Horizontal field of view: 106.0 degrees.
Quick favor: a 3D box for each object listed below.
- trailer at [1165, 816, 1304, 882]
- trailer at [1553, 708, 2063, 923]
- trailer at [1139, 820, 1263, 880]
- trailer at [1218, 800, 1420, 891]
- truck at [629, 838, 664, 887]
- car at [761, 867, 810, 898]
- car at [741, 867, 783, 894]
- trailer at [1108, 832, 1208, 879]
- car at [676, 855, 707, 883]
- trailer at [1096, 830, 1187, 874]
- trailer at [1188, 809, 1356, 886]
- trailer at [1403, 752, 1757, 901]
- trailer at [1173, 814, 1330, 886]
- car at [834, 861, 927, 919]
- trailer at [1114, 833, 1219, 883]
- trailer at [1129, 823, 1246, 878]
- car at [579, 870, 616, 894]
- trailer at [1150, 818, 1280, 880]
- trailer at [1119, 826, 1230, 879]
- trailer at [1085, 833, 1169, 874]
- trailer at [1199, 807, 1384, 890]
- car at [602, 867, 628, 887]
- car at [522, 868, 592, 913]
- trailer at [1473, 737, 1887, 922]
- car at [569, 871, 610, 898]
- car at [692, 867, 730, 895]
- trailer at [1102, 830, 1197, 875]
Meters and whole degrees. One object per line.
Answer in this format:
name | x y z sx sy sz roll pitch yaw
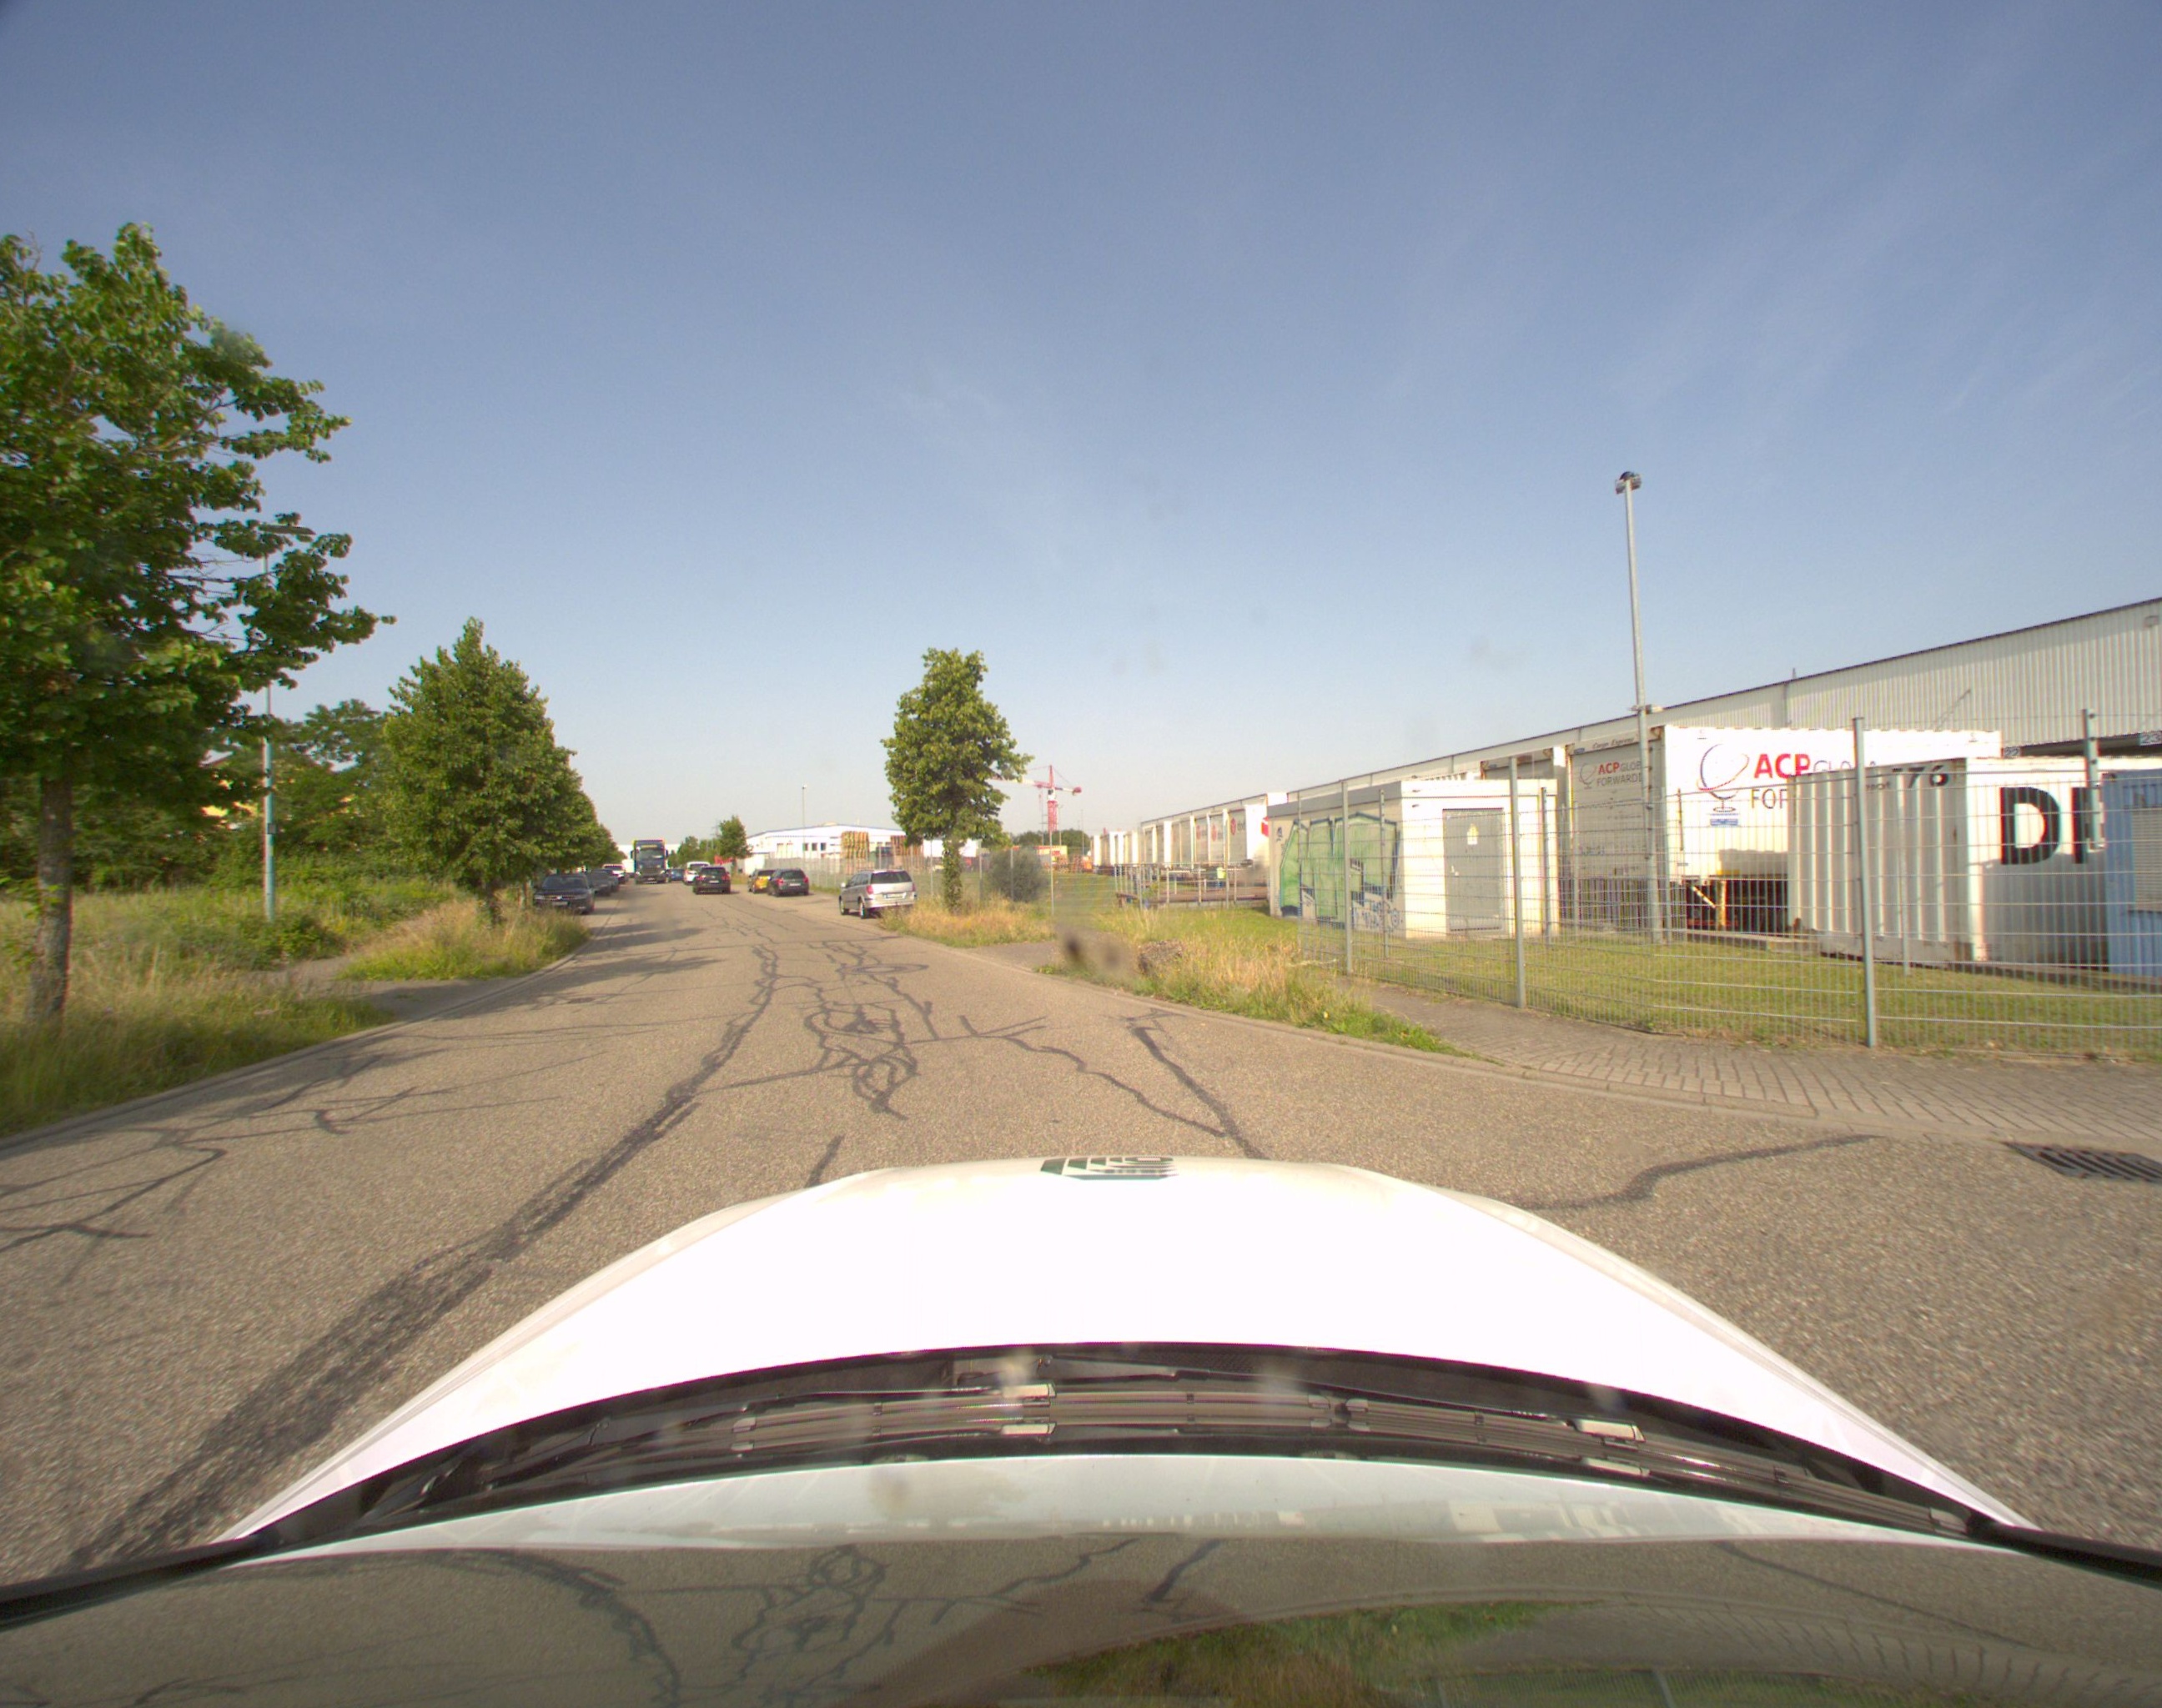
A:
trailer | 9.424 -0.297 50.294 8.034 3.893 2.766 1 0 -10
trailer | 14.566 -0.731 16.624 8.530 3.894 2.768 -1 -3 -8
trailer | 8.213 -0.253 56.106 7.963 3.893 2.766 1 0 -10
trailer | 10.795 -0.345 37.217 8.536 3.893 2.766 1 0 -10
truck | -40.268 0.772 75.327 2.514 4.145 10.281 -3 1 -29
car | -16.123 1.498 44.346 1.726 1.515 3.964 -3 1 -31
car | -19.247 1.586 49.010 1.726 1.455 4.147 -3 1 -30
trailer | 6.497 0.134 68.747 7.963 3.893 2.766 1 0 -10
car | -30.961 1.219 64.810 2.132 2.110 4.585 -1 -1 -25
trailer | 5.522 -0.139 74.942 7.963 3.893 2.766 1 0 -10
trailer | 10.116 -0.314 43.307 8.308 3.893 2.766 1 0 -10
trailer | 13.743 -0.734 22.660 8.732 3.761 2.781 -1 -1 -10
trailer | 9.643 -0.191 46.324 8.308 3.893 2.766 1 0 -10
car | -6.659 1.122 26.728 1.810 1.626 4.407 -3 1 -29
trailer | 6.833 0.328 65.348 7.963 3.893 2.766 1 0 -10
trailer | 7.715 -0.229 59.217 7.963 3.893 2.766 1 0 -10
car | -31.742 1.793 53.525 1.843 1.496 4.012 0 -1 -28
trailer | 8.714 -0.299 53.186 7.963 3.893 2.766 1 0 -10
trailer | 7.106 -0.073 62.280 7.963 3.893 2.766 1 0 -10
trailer | 4.555 -0.023 80.883 7.963 3.893 2.733 1 0 -10
trailer | 10.353 -0.228 40.308 8.536 3.893 2.766 1 0 -10
car | -42.277 2.055 73.894 1.843 1.763 4.012 0 -1 -28
car | -20.697 1.387 32.313 1.913 1.626 4.409 0 -1 -28
trailer | 14.304 -0.615 19.702 8.532 3.893 2.767 -2 0 -9
car | -28.982 1.742 48.124 1.843 1.496 4.012 0 -1 -28
car | -22.209 1.595 48.956 1.889 1.586 4.082 -1 -1 -23
trailer | 6.003 -0.122 72.062 7.963 3.893 2.766 1 0 -10
